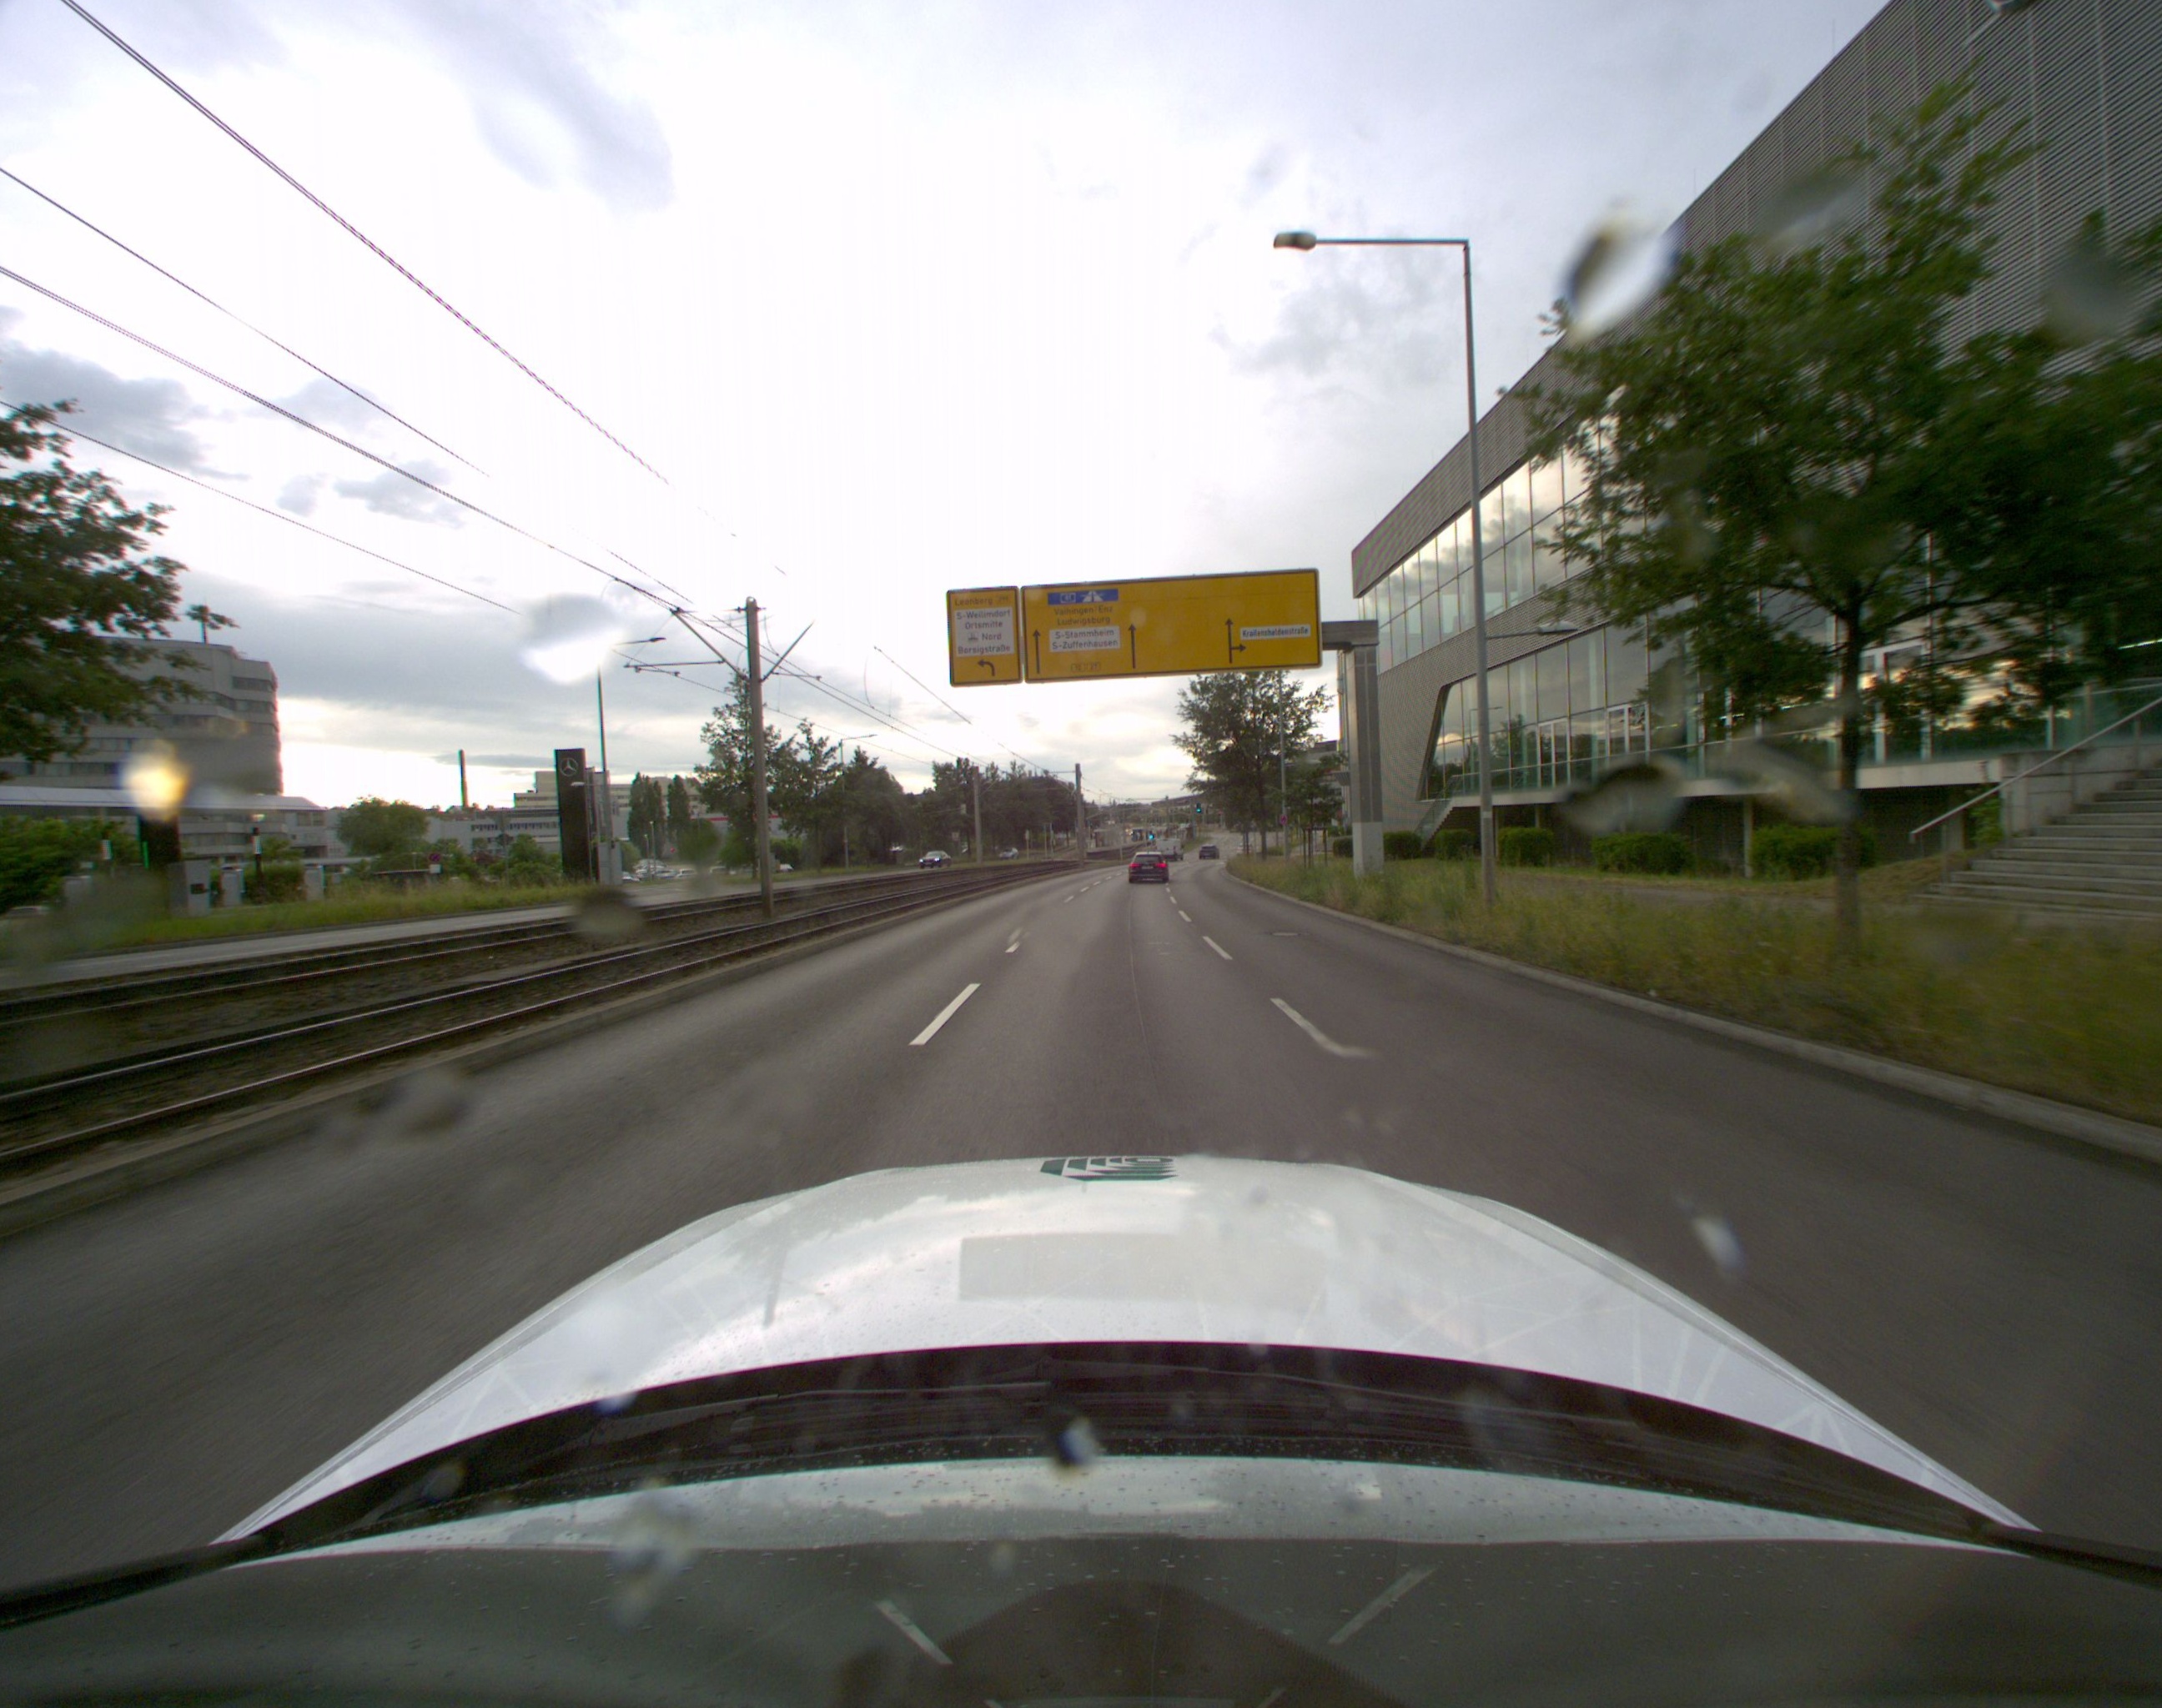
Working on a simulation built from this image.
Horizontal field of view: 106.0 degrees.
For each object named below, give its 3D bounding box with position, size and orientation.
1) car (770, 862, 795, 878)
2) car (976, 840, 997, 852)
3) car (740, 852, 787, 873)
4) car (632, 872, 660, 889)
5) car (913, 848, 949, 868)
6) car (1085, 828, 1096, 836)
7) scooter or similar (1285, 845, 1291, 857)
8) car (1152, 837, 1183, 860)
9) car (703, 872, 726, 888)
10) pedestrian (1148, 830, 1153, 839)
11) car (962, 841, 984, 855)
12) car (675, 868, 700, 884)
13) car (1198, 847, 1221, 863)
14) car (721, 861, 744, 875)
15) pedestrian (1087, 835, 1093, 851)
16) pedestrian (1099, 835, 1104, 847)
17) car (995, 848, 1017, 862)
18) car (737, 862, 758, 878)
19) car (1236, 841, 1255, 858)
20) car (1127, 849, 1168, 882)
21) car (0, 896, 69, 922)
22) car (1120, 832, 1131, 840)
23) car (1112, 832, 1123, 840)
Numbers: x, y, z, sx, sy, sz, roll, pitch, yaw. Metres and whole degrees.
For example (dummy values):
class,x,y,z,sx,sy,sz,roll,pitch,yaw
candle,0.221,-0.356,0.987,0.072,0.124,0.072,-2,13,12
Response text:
class,x,y,z,sx,sy,sz,roll,pitch,yaw
car,-30.075,1.628,82.026,2.003,1.510,3.967,0,-1,-25
car,-15.352,-1.278,132.789,1.978,2.014,4.017,-1,0,16
car,-26.092,0.729,66.981,1.983,1.651,4.006,-1,-1,6
car,-39.771,2.407,74.482,2.003,1.510,3.967,0,-1,-25
car,-12.847,0.329,69.930,1.875,1.520,4.407,-5,0,3
car,2.648,-6.369,233.860,1.999,2.014,3.975,0,-1,-18
scooter or similar,21.889,-0.305,86.029,0.454,1.263,1.341,-4,0,10
car,8.722,-0.525,81.646,2.494,2.177,5.167,-1,-1,13
car,-35.787,2.504,79.565,1.758,1.494,3.972,0,-1,-20
pedestrian,14.474,-4.042,169.798,0.747,1.751,0.767,-1,-1,13
car,-16.957,-0.942,127.685,1.978,2.014,4.017,-1,0,16
car,-38.085,2.116,78.879,1.758,1.494,3.972,0,-1,-20
car,13.640,0.091,86.292,2.007,1.623,4.014,-1,-1,13
car,-38.802,1.602,90.693,2.005,1.510,3.963,0,-1,-28
pedestrian,1.154,-1.424,103.028,0.545,1.953,0.665,-1,-1,9
pedestrian,3.005,-1.891,118.579,0.633,1.854,0.753,-1,-1,12
car,-10.034,0.132,108.943,1.982,1.679,4.010,-1,1,8
car,-33.124,1.598,80.909,1.758,1.494,3.972,0,-1,-20
car,18.808,-0.533,93.039,2.007,1.769,4.016,-1,3,13
car,3.213,0.484,38.642,1.755,1.463,4.635,-1,0,6
car,-73.474,3.850,57.236,1.731,1.597,3.181,0,-1,-27
car,13.221,-5.389,242.288,1.999,2.014,3.975,0,-1,-18
car,10.668,-5.360,241.371,1.999,2.014,3.975,0,-1,-18
